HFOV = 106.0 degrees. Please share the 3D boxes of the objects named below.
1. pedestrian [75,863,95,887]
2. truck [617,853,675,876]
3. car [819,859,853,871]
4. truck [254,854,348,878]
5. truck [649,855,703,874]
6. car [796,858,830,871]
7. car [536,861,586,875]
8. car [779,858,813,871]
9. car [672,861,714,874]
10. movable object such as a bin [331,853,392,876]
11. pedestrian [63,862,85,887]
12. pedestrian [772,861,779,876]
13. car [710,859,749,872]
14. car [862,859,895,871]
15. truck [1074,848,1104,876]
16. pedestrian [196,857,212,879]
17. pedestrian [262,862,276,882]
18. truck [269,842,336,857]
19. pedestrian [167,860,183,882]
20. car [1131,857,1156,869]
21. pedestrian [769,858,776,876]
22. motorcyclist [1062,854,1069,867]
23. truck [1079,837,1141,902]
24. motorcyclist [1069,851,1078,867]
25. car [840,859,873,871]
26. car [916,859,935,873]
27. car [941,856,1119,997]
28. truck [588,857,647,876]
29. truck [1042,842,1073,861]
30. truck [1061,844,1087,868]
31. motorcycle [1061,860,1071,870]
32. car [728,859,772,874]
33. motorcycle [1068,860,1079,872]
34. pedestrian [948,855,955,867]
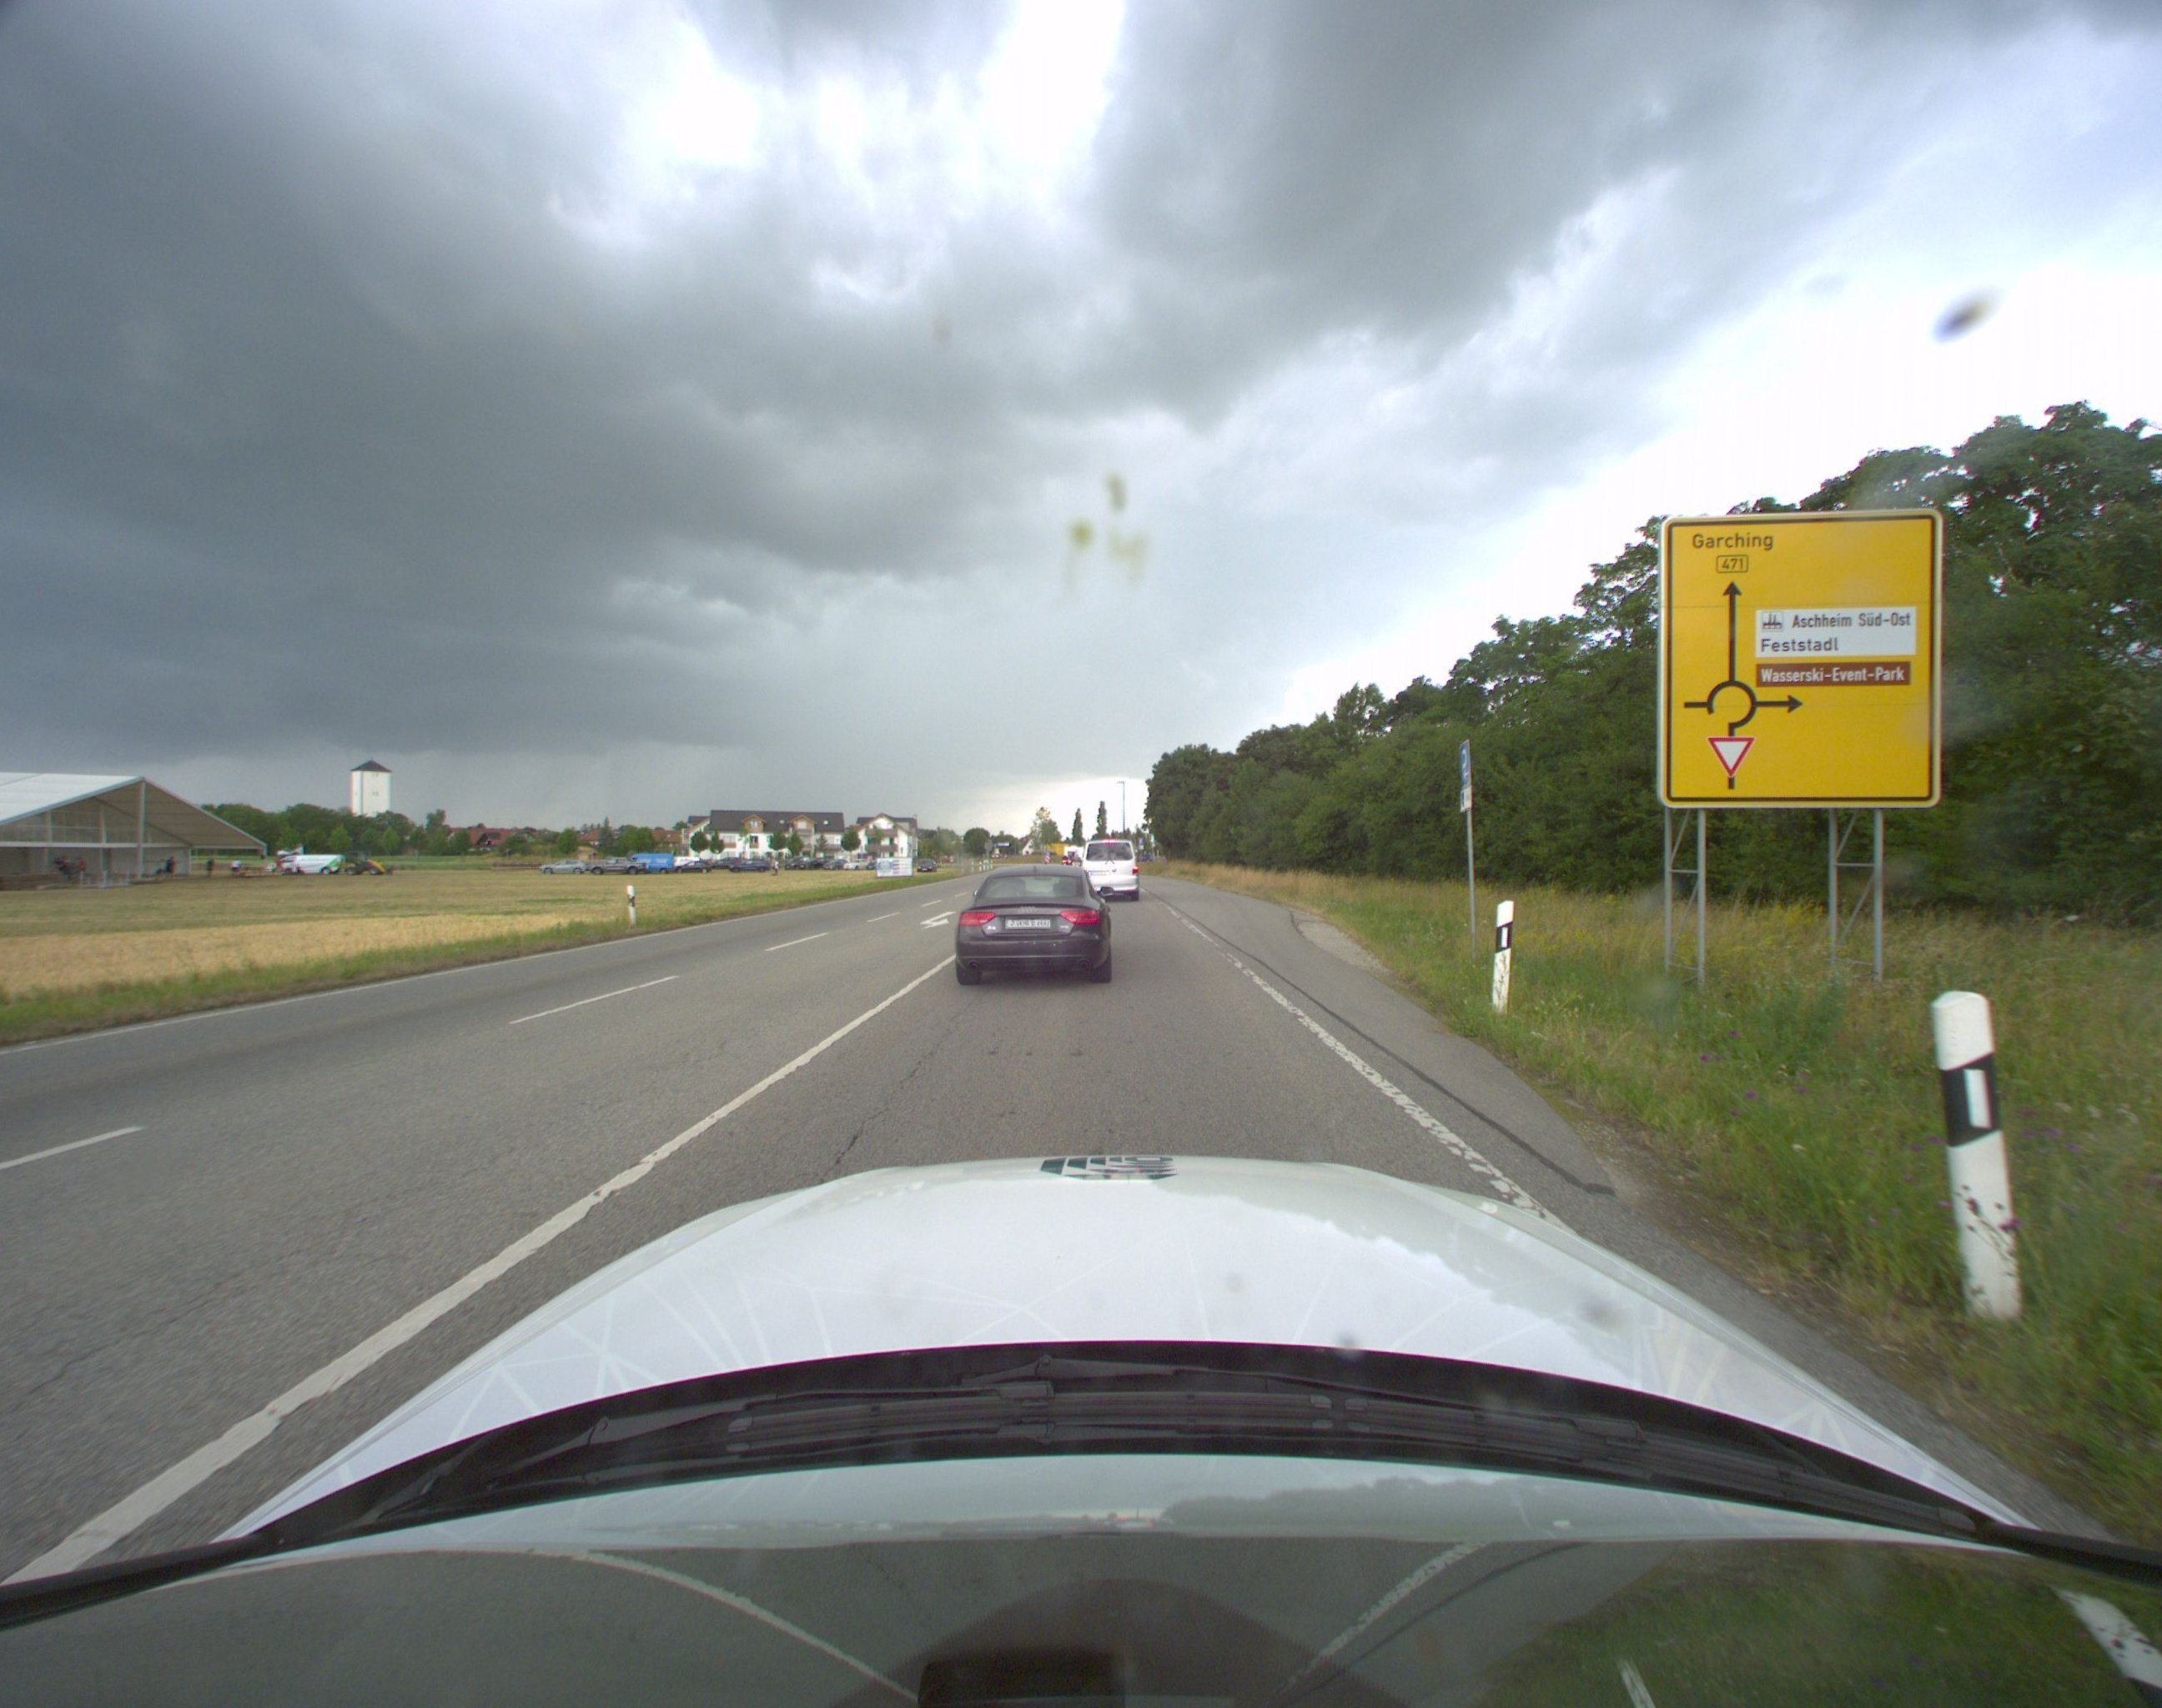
[{"bbox_3d":[-73.478,1.522,60.071,0.656,1.744,0.722,0,-1,-19],"label":"pedestrian"},{"bbox_3d":[-48.104,1.100,90.199,5.469,2.446,2.376,0,0,-22],"label":"truck"},{"bbox_3d":[-31.331,1.402,104.282,1.977,1.536,4.232,-1,0,20],"label":"car"},{"bbox_3d":[-75.720,1.122,79.207,6.076,2.217,2.697,0,0,-26],"label":"truck"},{"bbox_3d":[-48.567,1.239,97.725,5.586,2.196,2.588,0,0,-22],"label":"truck"},{"bbox_3d":[-34.472,1.347,104.775,1.977,1.629,4.232,-1,0,20],"label":"car"},{"bbox_3d":[-55.739,1.517,87.357,4.316,1.461,1.876,0,0,-26],"label":"car"},{"bbox_3d":[-37.440,1.405,107.166,1.977,1.629,4.232,-1,0,20],"label":"car"},{"bbox_3d":[-45.121,1.546,94.847,4.168,1.519,1.987,0,0,-20],"label":"car"},{"bbox_3d":[-69.199,0.994,78.385,4.006,2.243,1.869,0,-1,-27],"label":"movable object such as a bin"},{"bbox_3d":[-74.518,1.520,60.258,0.732,1.779,0.755,0,-1,-19],"label":"pedestrian"},{"bbox_3d":[-32.070,1.540,85.478,0.591,1.555,0.622,0,-1,-18],"label":"pedestrian"},{"bbox_3d":[-47.040,1.482,109.004,4.640,1.697,1.987,0,0,-19],"label":"car"},{"bbox_3d":[-25.706,1.422,103.401,1.977,1.446,4.232,-1,0,20],"label":"car"},{"bbox_3d":[0.665,0.567,61.436,2.185,2.014,5.086,0,0,1],"label":"truck"},{"bbox_3d":[-73.527,1.175,68.296,0.626,1.866,0.704,0,-1,-20],"label":"pedestrian"},{"bbox_3d":[-72.371,1.604,72.585,0.690,1.776,0.690,0,-1,-18],"label":"pedestrian"},{"bbox_3d":[-140.067,-0.813,146.492,9.301,2.530,3.304,0,0,5],"label":"truck"},{"bbox_3d":[-71.831,1.338,64.585,0.686,1.776,0.695,-1,-1,30],"label":"pedestrian"},{"bbox_3d":[10.894,1.542,141.419,3.953,2.014,2.010,0,0,21],"label":"car"},{"bbox_3d":[-32.002,1.361,84.384,0.548,1.786,0.676,0,-1,-11],"label":"pedestrian"},{"bbox_3d":[-1.663,0.654,87.103,0.784,1.356,0.852,0,0,-5],"label":"motorcyclist"},{"bbox_3d":[0.964,0.474,27.278,1.897,1.998,4.630,0,0,1],"label":"truck"},{"bbox_3d":[-0.685,0.452,72.583,0.769,1.383,0.820,0,0,2],"label":"motorcyclist"},{"bbox_3d":[-28.586,1.359,103.837,1.977,1.446,4.232,-1,0,20],"label":"car"},{"bbox_3d":[-17.369,1.301,90.933,1.993,1.442,3.987,0,0,-10],"label":"car"},{"bbox_3d":[-0.512,0.777,10.748,1.868,1.454,4.177,-1,0,1],"label":"car"},{"bbox_3d":[-48.882,1.319,86.001,5.253,1.920,2.095,0,0,-26],"label":"truck"},{"bbox_3d":[-4.730,-0.426,160.185,3.585,3.578,9.899,0,0,-17],"label":"truck"},{"bbox_3d":[-0.897,0.252,98.354,2.622,2.737,5.856,0,0,-5],"label":"truck"},{"bbox_3d":[-1.660,1.207,87.266,0.942,1.019,2.280,0,0,-4],"label":"motorcycle"},{"bbox_3d":[-39.382,1.469,97.067,4.730,1.697,1.987,0,0,-19],"label":"car"},{"bbox_3d":[-0.660,1.082,72.655,0.916,1.094,2.190,0,0,2],"label":"motorcycle"},{"bbox_3d":[-17.463,0.991,109.624,0.695,1.586,0.661,-1,-1,18],"label":"pedestrian"}]
